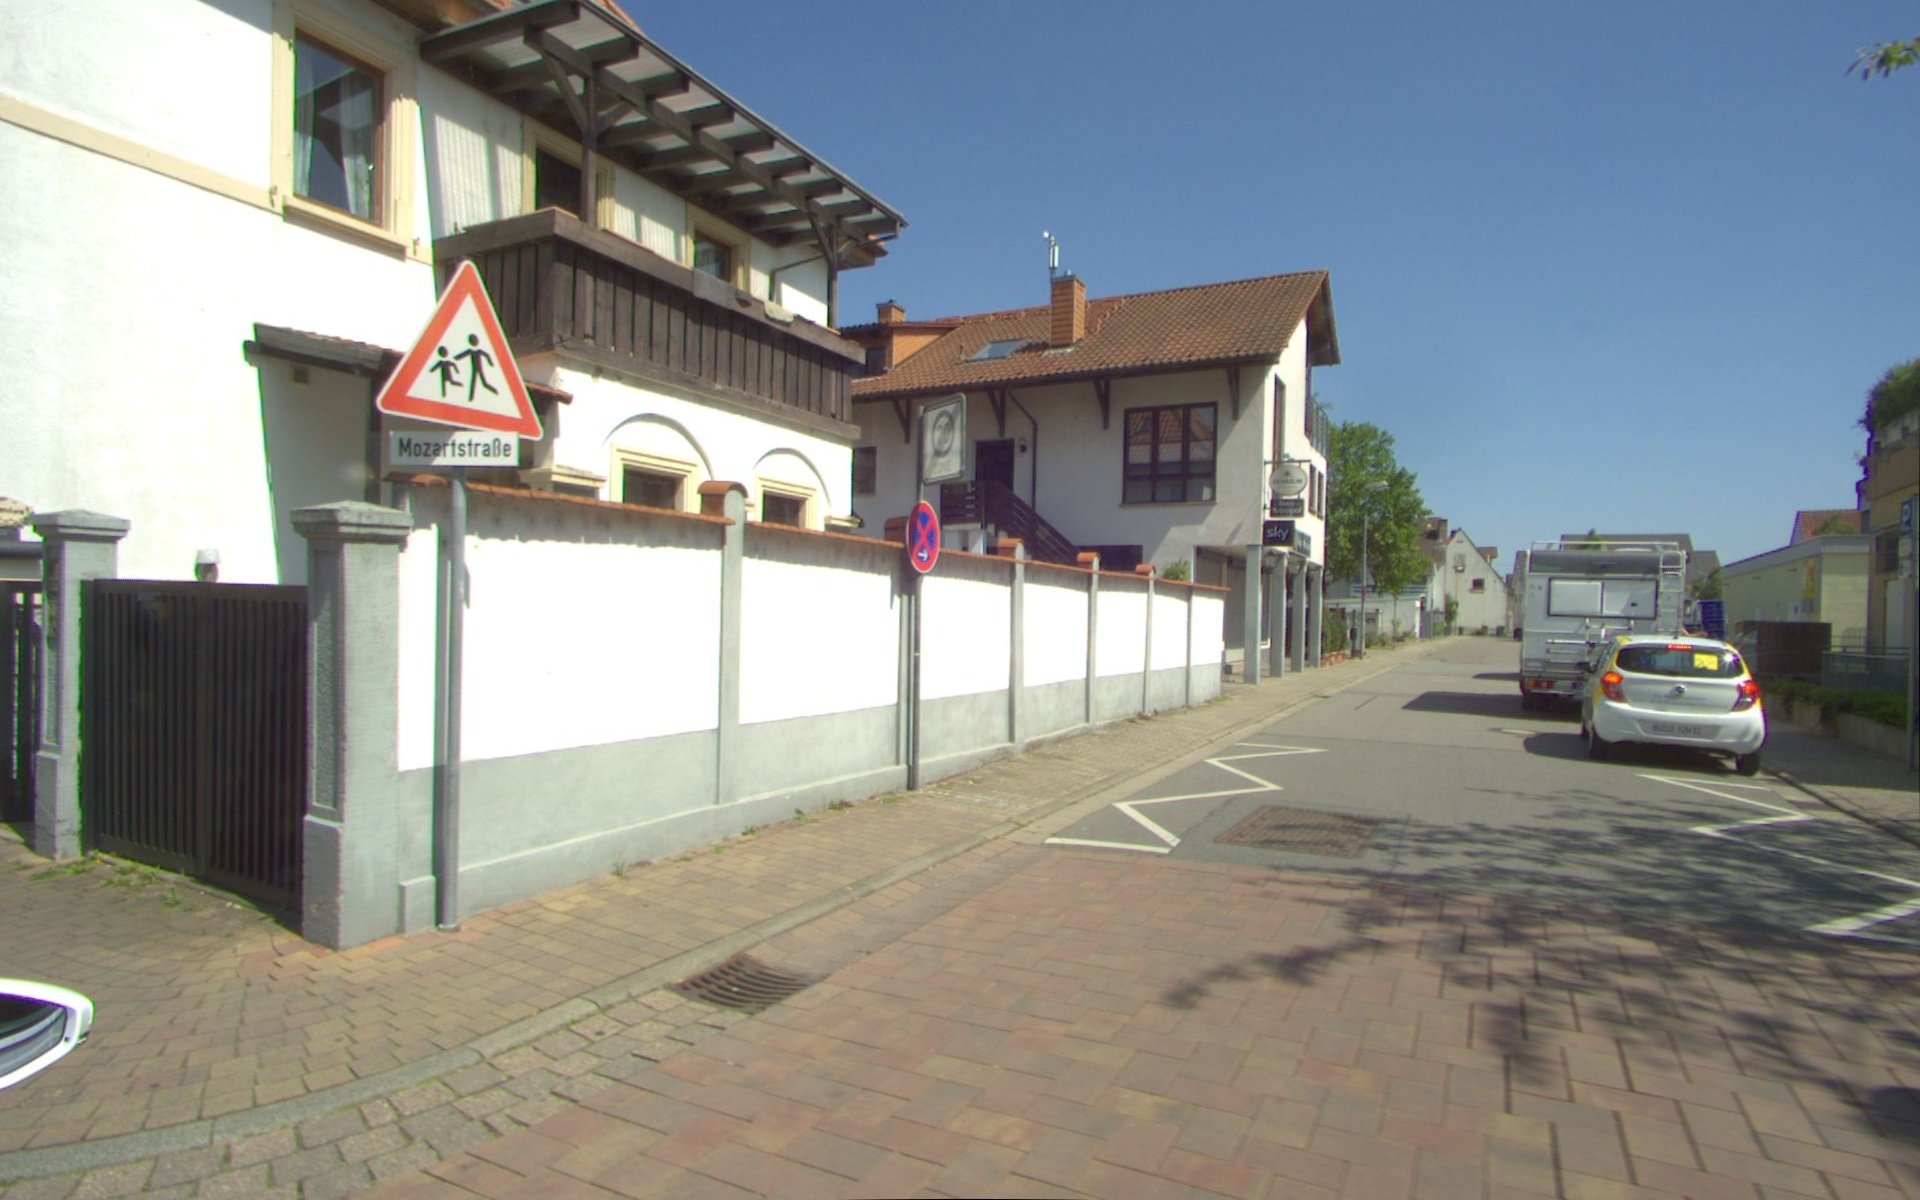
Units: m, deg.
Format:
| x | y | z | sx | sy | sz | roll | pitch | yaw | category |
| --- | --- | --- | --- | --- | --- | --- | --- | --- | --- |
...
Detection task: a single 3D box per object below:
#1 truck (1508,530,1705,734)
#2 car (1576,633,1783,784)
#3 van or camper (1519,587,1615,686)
| x | y | z | sx | sy | sz | roll | pitch | yaw | category |
| --- | --- | --- | --- | --- | --- | --- | --- | --- | --- |
| 11.600 | 0.540 | 18.340 | 2.506 | 3.045 | 6.378 | 1 | -1 | 30 | truck |
| 8.725 | 1.201 | 12.434 | 1.629 | 1.471 | 3.611 | 2 | 0 | 29 | car |
| 16.905 | 0.987 | 28.070 | 2.037 | 2.510 | 4.654 | 1 | -1 | 29 | van or camper |
